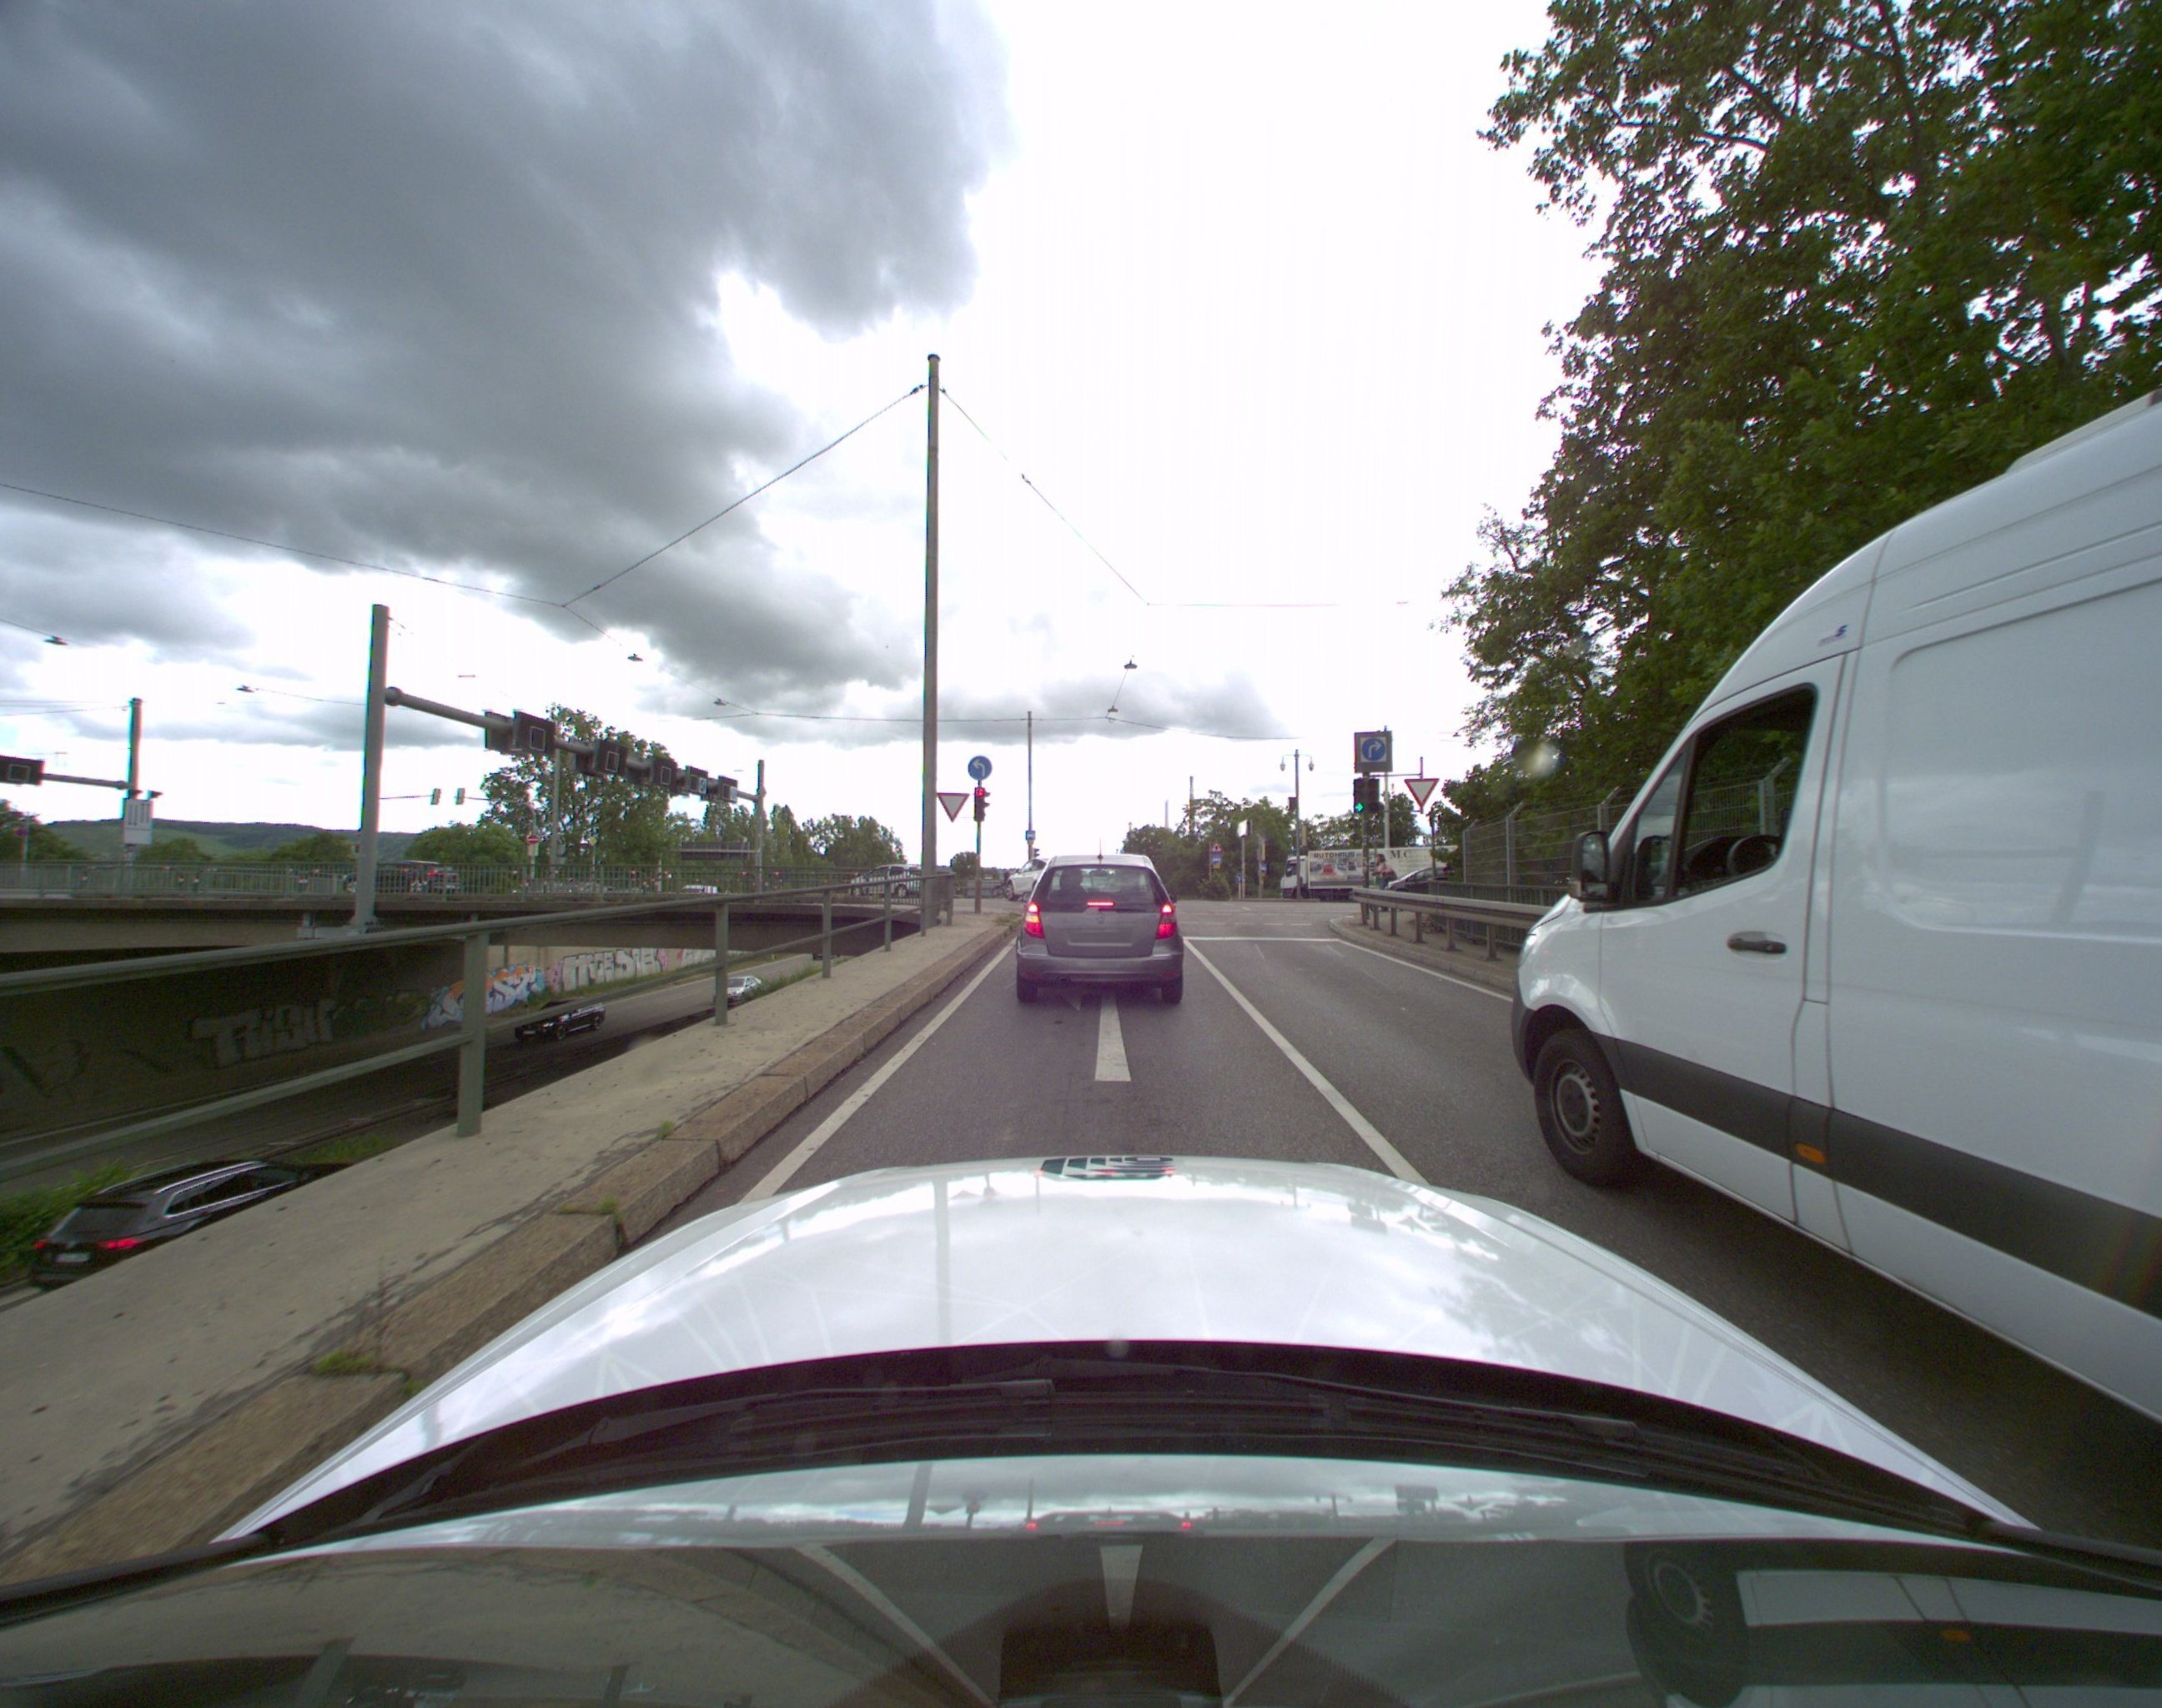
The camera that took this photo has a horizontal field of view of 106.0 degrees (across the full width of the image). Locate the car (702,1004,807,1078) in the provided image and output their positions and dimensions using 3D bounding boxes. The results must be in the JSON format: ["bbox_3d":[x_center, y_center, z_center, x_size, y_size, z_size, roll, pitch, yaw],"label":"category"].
[{"bbox_3d":[-12.259,7.012,30.998,1.943,1.935,4.894,0,-3,0],"label":"car"}]

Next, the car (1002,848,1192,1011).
[{"bbox_3d":[0.287,0.735,9.997,1.849,1.588,4.004,0,0,4],"label":"car"}]

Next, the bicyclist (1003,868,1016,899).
[{"bbox_3d":[-3.960,1.611,44.908,0.653,1.673,0.867,0,0,-9],"label":"bicyclist"}]

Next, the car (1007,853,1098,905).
[{"bbox_3d":[-1.140,0.853,29.614,1.939,1.717,4.373,0,0,-22],"label":"car"}]

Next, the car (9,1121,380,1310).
[{"bbox_3d":[-15.644,6.334,14.822,1.832,1.713,4.283,-1,-3,4],"label":"car"}]

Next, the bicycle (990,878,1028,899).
[{"bbox_3d":[-3.969,1.897,44.892,2.032,1.124,0.926,-1,0,-10],"label":"bicycle"}]

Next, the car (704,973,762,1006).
[{"bbox_3d":[-21.641,8.416,50.770,1.722,1.528,4.087,-1,-3,2],"label":"car"}]

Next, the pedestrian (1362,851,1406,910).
[{"bbox_3d":[8.838,0.773,23.786,0.830,1.678,0.978,-1,-3,-1],"label":"pedestrian"}]

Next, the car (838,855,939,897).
[{"bbox_3d":[-8.368,0.932,35.373,3.949,1.717,1.949,-1,0,29],"label":"car"}]

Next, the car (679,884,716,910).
[{"bbox_3d":[-36.416,4.055,77.407,1.850,2.215,3.659,-1,0,-3],"label":"car"}]

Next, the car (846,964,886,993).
[{"bbox_3d":[-14.554,8.441,55.353,1.550,1.553,3.685,-1,-3,3],"label":"car"}]

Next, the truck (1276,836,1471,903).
[{"bbox_3d":[16.635,0.861,46.884,10.115,3.518,2.816,-1,0,36],"label":"truck"}]

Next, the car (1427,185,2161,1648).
[{"bbox_3d":[3.107,0.118,1.538,2.103,2.783,6.780,-1,0,1],"label":"car"}]

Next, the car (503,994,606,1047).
[{"bbox_3d":[-24.970,7.880,38.858,1.909,1.739,4.552,-2,-3,1],"label":"car"}]

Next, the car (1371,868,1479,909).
[{"bbox_3d":[14.943,1.495,35.485,3.969,1.665,1.815,-1,0,4],"label":"car"}]

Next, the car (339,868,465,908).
[{"bbox_3d":[-30.554,1.513,36.739,3.974,1.717,1.937,-1,0,0],"label":"car"}]
